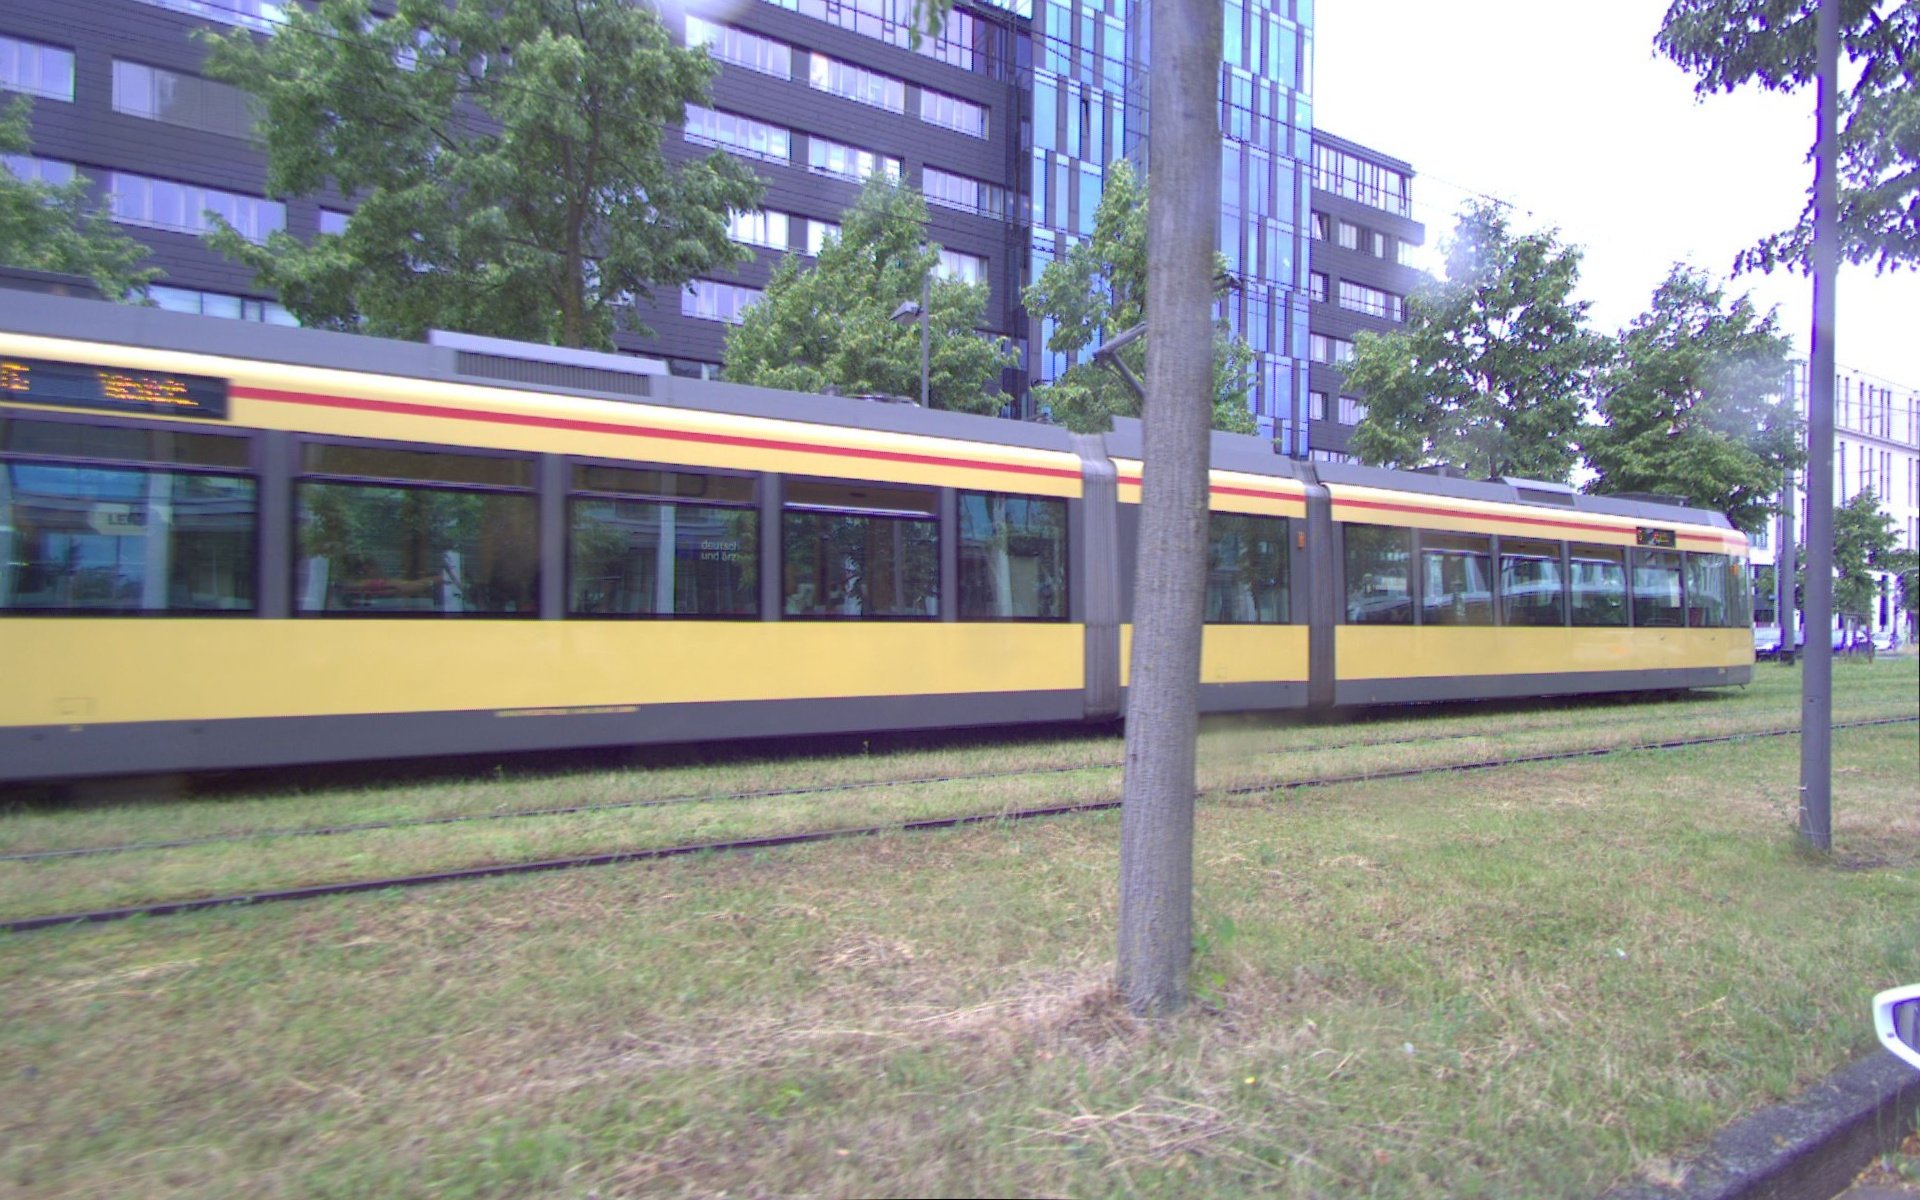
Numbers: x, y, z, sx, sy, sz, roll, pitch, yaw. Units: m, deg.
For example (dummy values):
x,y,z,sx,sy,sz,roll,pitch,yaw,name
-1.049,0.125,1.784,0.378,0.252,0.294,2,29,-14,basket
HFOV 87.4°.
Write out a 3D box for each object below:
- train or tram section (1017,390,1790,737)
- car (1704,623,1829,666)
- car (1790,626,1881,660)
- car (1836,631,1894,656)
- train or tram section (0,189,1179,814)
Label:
x,y,z,sx,sy,sz,roll,pitch,yaw,name
7.956,-0.268,15.892,14.888,3.708,3.113,1,0,-31,train or tram section
29.421,1.598,36.619,4.816,1.398,1.983,1,0,-31,car
42.552,2.059,48.805,4.955,1.542,1.983,1,0,-32,car
62.251,2.989,69.101,3.955,1.639,1.983,1,-1,-32,car
-4.150,-0.542,8.693,13.249,3.708,3.113,1,0,-31,train or tram section
